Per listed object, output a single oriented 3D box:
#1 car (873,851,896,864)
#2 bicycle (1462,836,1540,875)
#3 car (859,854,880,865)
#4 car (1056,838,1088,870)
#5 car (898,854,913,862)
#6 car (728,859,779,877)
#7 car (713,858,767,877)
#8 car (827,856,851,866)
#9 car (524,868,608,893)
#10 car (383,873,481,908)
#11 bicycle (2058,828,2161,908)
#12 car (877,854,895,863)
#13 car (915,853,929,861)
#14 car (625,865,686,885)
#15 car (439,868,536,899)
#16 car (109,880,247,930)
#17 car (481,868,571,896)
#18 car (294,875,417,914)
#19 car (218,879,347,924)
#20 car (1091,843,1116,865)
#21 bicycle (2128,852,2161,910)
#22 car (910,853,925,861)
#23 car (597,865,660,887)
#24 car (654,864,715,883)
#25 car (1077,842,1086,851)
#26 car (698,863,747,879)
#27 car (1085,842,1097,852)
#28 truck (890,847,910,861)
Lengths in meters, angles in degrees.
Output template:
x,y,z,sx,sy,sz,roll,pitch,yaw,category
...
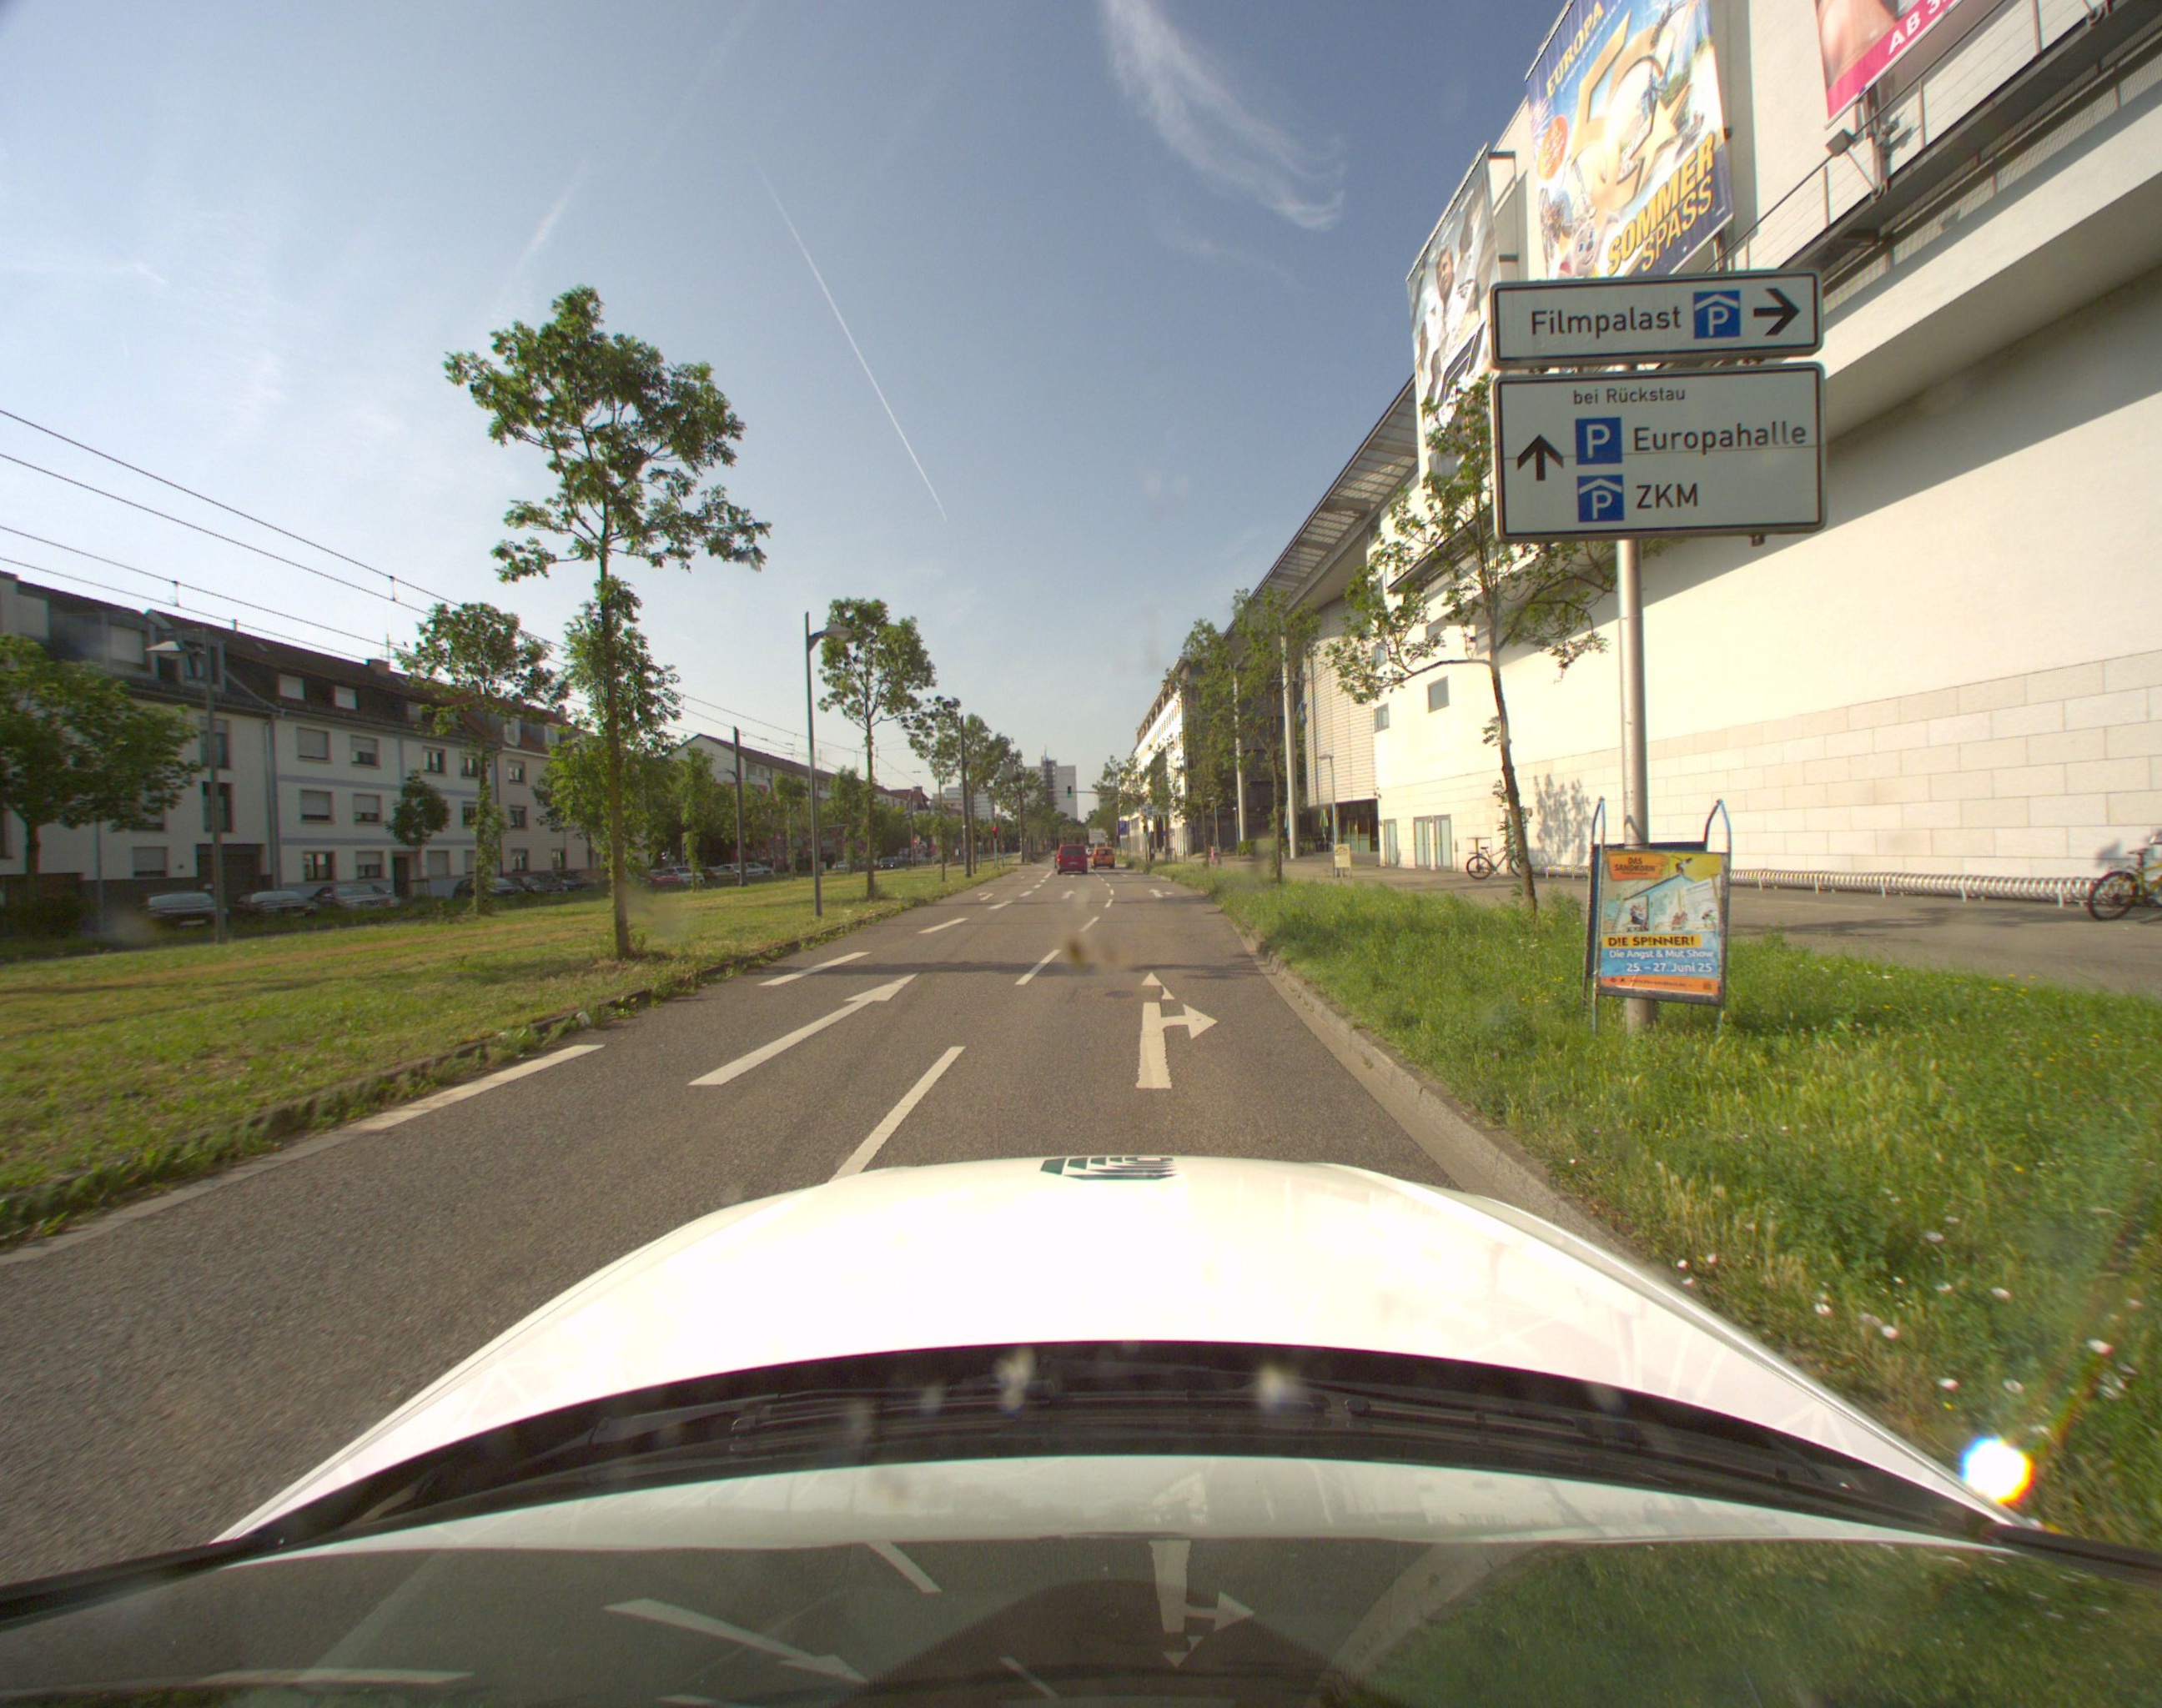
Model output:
x,y,z,sx,sy,sz,roll,pitch,yaw,category
-27.535,0.504,114.328,1.987,1.706,4.712,-2,0,0,car
12.756,0.047,24.771,2.000,1.102,0.676,-2,0,3,bicycle
-31.117,0.811,119.804,1.975,1.556,4.534,-1,0,-2,car
-0.595,-0.014,51.978,1.869,1.853,3.997,-2,1,-2,car
-31.122,0.662,144.547,1.975,1.360,4.067,-1,0,-2,car
-28.434,1.205,70.738,4.297,1.463,1.976,-1,0,32,car
-28.126,1.115,67.109,4.407,1.514,2.013,-1,0,35,car
-30.869,0.903,103.942,1.828,1.147,4.162,-1,0,-2,car
-27.850,1.413,44.060,4.009,1.288,2.012,-1,0,26,car
-27.260,1.498,34.200,3.734,1.376,1.674,-1,0,25,car
13.222,0.154,10.095,1.652,0.915,0.482,-3,0,-1,bicycle
-31.045,0.750,129.691,1.975,1.360,4.067,-1,0,-2,car
-31.352,0.569,160.468,1.975,1.379,4.681,-1,0,-2,car
-28.404,1.387,54.341,3.948,1.258,1.888,-1,0,32,car
-28.250,1.415,38.787,3.951,1.288,2.012,-2,1,24,car
-28.442,1.598,25.650,3.950,1.376,1.847,-2,1,26,car
-28.281,1.411,41.520,3.951,1.288,2.012,-1,0,25,car
-28.311,1.526,31.795,4.286,1.376,2.012,-1,0,25,car
-27.455,1.576,27.993,3.950,1.376,1.939,-1,0,26,car
1.772,-0.024,65.064,1.870,1.696,3.973,-2,1,0,car
13.256,0.288,9.407,1.652,0.645,0.538,-3,0,-1,bicycle
-31.142,0.598,155.252,1.975,1.513,4.278,-1,0,-2,car
-28.312,1.354,50.928,3.948,1.235,1.710,-1,0,32,car
-27.867,1.374,57.194,3.949,1.269,1.898,-1,0,29,car
0.060,-1.853,193.637,1.988,2.013,3.999,-3,1,-1,car
-28.132,1.344,63.872,3.949,1.178,2.013,0,0,40,car
1.626,-1.104,129.809,1.684,1.526,3.849,-4,1,-1,car
-35.290,0.012,159.247,2.359,2.562,7.237,-3,1,-1,truck
